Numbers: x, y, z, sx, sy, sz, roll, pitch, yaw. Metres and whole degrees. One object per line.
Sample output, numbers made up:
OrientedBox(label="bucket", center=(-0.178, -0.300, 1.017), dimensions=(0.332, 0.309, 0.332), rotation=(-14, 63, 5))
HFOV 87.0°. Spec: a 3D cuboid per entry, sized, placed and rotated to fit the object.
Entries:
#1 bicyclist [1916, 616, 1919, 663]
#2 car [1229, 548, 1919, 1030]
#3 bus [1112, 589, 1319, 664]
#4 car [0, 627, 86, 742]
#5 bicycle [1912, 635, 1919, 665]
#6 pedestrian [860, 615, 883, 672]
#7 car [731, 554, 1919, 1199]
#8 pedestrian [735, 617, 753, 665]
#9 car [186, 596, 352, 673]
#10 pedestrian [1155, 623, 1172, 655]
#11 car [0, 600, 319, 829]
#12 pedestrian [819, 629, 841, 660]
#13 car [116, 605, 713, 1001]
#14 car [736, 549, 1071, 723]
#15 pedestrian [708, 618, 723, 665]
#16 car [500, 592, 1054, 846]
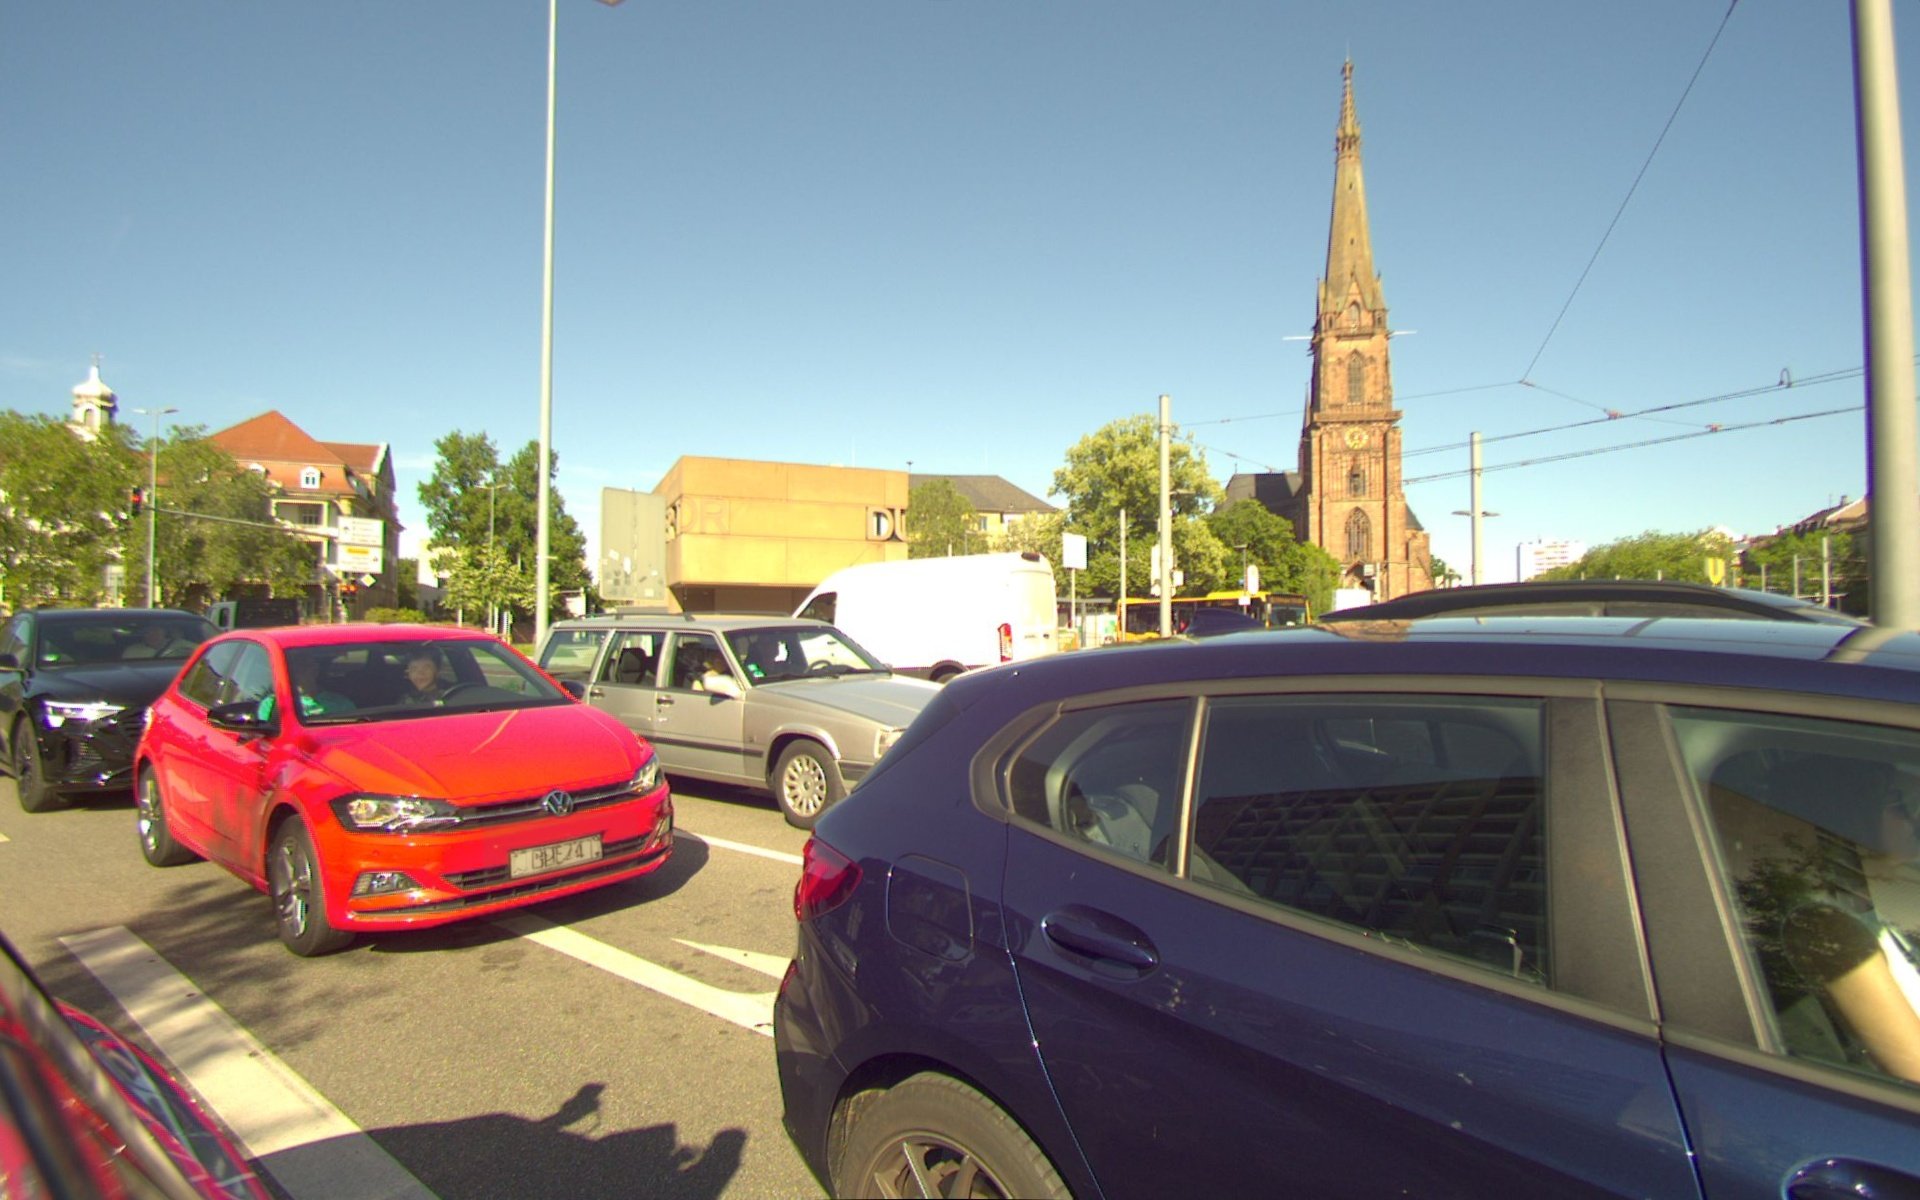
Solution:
OrientedBox(label="bicyclist", center=(35.997, 1.464, 37.445), dimensions=(0.675, 1.725, 0.612), rotation=(-1, -2, 26))
OrientedBox(label="car", center=(3.352, 0.615, 4.128), dimensions=(4.010, 1.529, 1.738), rotation=(-2, -2, 44))
OrientedBox(label="bus", center=(11.625, 1.317, 48.110), dimensions=(2.715, 3.088, 12.201), rotation=(1, -2, -23))
OrientedBox(label="car", center=(-13.638, 1.123, 13.919), dimensions=(3.704, 1.429, 1.557), rotation=(-1, 0, 35))
OrientedBox(label="bicycle", center=(36.071, 1.866, 37.428), dimensions=(0.675, 1.114, 1.882), rotation=(-1, -2, 25))
OrientedBox(label="pedestrian", center=(-2.834, 1.384, 32.334), dimensions=(0.658, 1.802, 0.646), rotation=(-1, -1, 0))
OrientedBox(label="car", center=(1.592, 0.680, 1.378), dimensions=(4.030, 1.456, 1.692), rotation=(-1, -1, 42))
OrientedBox(label="pedestrian", center=(-8.164, 1.543, 38.306), dimensions=(0.635, 1.789, 0.618), rotation=(0, -2, -8))
OrientedBox(label="car", center=(-22.677, 1.133, 33.114), dimensions=(6.191, 2.331, 2.095), rotation=(-1, -2, 31))
OrientedBox(label="pedestrian", center=(9.772, 1.879, 48.565), dimensions=(0.519, 1.525, 0.572), rotation=(0, -1, -37))
OrientedBox(label="car", center=(-7.816, 0.879, 9.310), dimensions=(4.446, 1.628, 1.836), rotation=(-1, -2, 38))
OrientedBox(label="pedestrian", center=(-5.534, 1.883, 43.180), dimensions=(0.635, 1.320, 0.764), rotation=(1, -2, -40))
OrientedBox(label="car", center=(-3.247, 0.808, 5.695), dimensions=(3.850, 1.484, 1.653), rotation=(-2, -1, 40))
OrientedBox(label="car", center=(-1.022, 0.592, 16.903), dimensions=(5.397, 2.527, 1.980), rotation=(-1, -2, 30))
OrientedBox(label="pedestrian", center=(-9.340, 1.578, 38.625), dimensions=(0.460, 1.789, 0.648), rotation=(0, -2, -21))
OrientedBox(label="car", center=(-1.715, 0.808, 8.244), dimensions=(4.746, 1.484, 1.692), rotation=(-3, 0, 38))
